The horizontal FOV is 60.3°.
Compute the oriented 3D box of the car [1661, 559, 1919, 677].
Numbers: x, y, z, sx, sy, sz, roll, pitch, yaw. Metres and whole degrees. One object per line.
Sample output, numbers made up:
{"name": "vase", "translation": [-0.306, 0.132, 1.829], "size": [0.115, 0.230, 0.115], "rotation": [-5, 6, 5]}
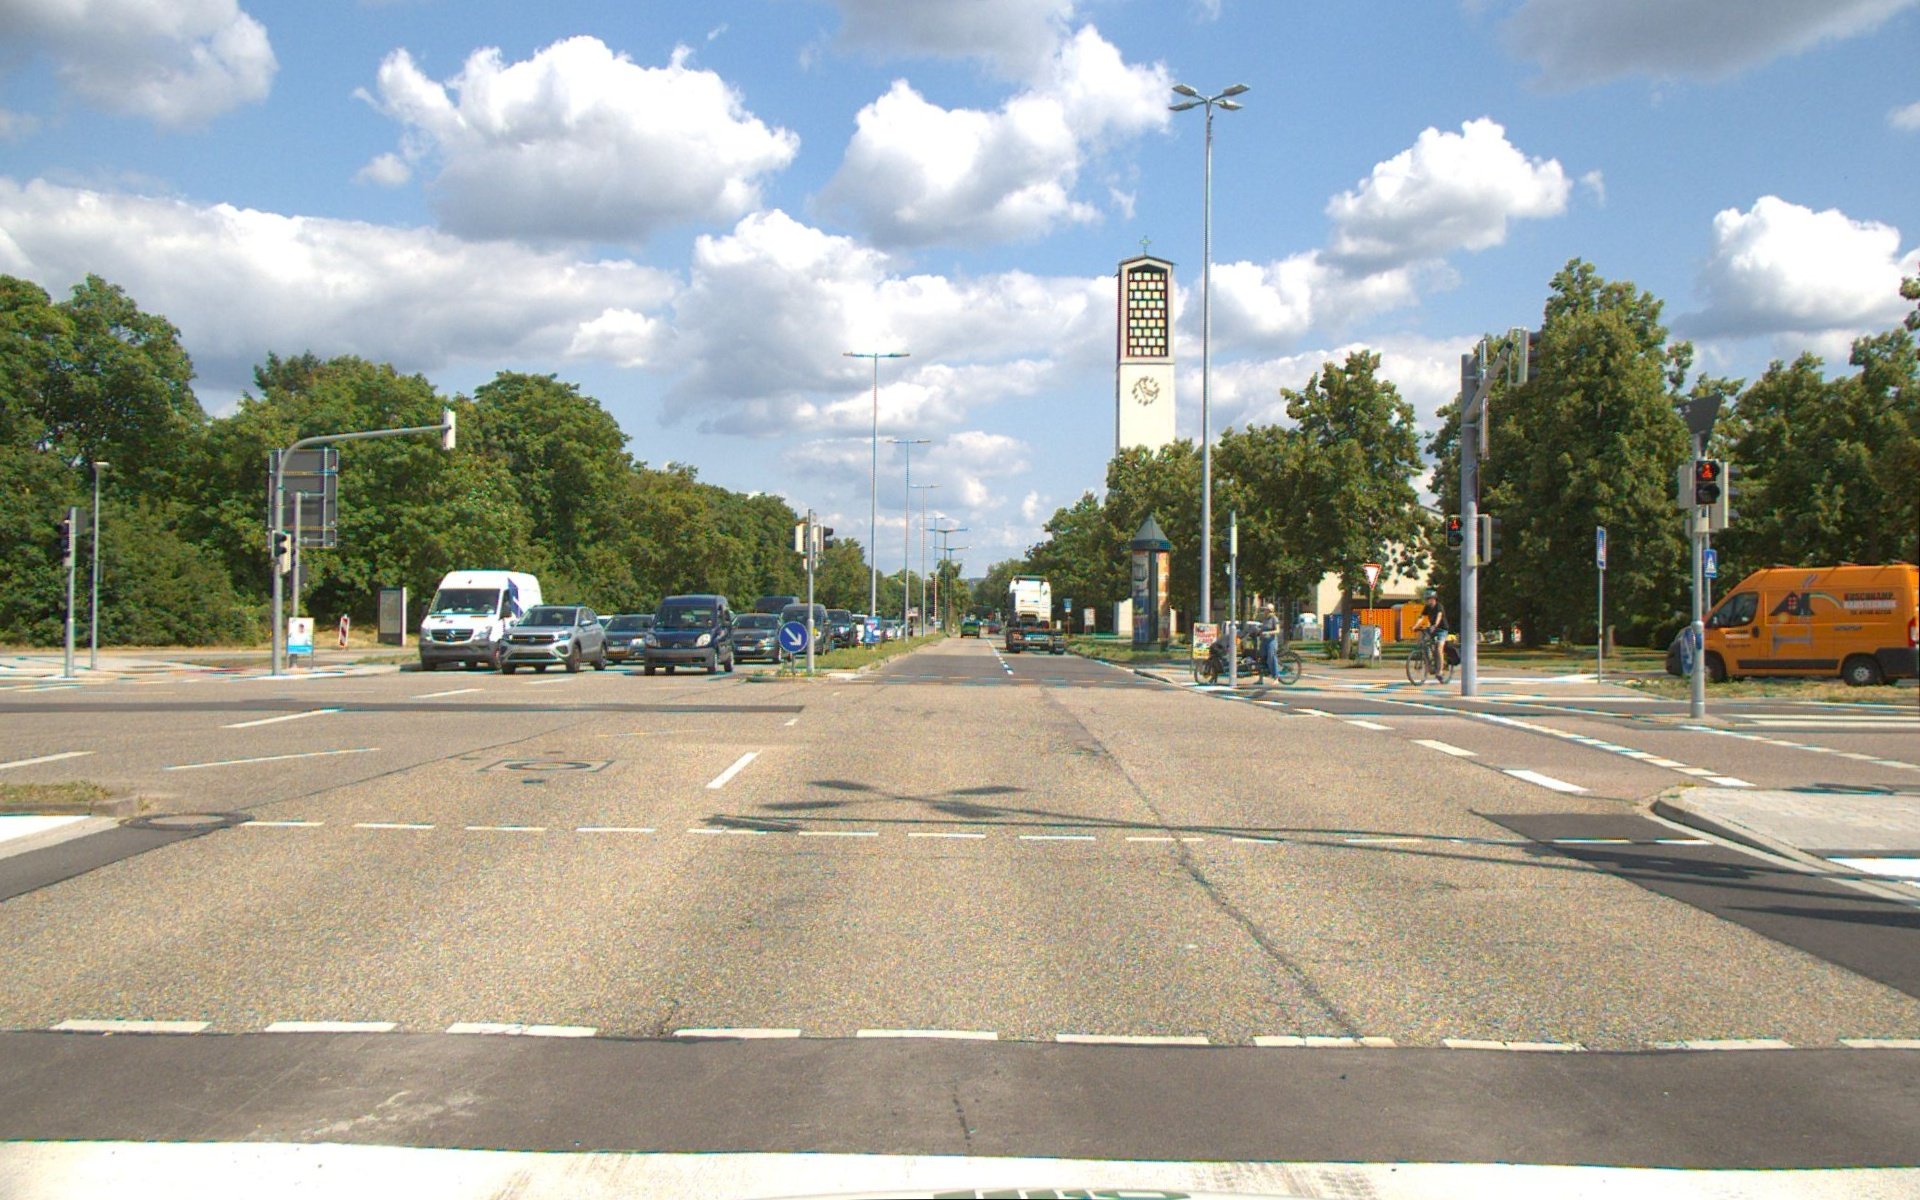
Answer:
{"name": "car", "translation": [17.397, 0.349, 34.381], "size": [4.768, 2.265, 2.201], "rotation": [2, -1, 39]}

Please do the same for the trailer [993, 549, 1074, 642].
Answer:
{"name": "trailer", "translation": [3.590, -0.076, 78.990], "size": [3.544, 4.082, 11.322], "rotation": [1, -1, 3]}

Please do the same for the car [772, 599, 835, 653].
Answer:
{"name": "car", "translation": [-5.278, 0.846, 56.104], "size": [1.699, 1.689, 4.231], "rotation": [2, 0, -1]}

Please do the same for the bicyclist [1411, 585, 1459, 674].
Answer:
{"name": "bicyclist", "translation": [9.973, 0.610, 34.701], "size": [0.783, 1.836, 0.675], "rotation": [2, -2, -43]}

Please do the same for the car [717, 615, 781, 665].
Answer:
{"name": "car", "translation": [-6.102, 1.142, 48.115], "size": [1.537, 1.339, 3.430], "rotation": [2, -1, -3]}

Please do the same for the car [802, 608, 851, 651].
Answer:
{"name": "car", "translation": [-5.662, 1.256, 70.546], "size": [1.699, 1.689, 4.230], "rotation": [2, -1, -1]}

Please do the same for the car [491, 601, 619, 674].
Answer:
{"name": "car", "translation": [-9.542, 0.876, 39.330], "size": [1.698, 1.570, 4.310], "rotation": [2, -1, 3]}

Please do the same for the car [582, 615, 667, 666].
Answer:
{"name": "car", "translation": [-9.492, 1.129, 47.069], "size": [1.728, 1.375, 3.518], "rotation": [1, -1, -1]}

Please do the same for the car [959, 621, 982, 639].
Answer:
{"name": "car", "translation": [0.964, 2.741, 152.090], "size": [1.953, 1.579, 3.999], "rotation": [2, -1, -1]}

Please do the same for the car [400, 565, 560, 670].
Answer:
{"name": "car", "translation": [-12.696, 0.485, 44.203], "size": [2.128, 2.514, 5.969], "rotation": [2, -1, 3]}

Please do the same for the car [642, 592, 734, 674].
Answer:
{"name": "car", "translation": [-6.118, 0.739, 37.586], "size": [1.701, 1.689, 4.226], "rotation": [2, -1, -5]}

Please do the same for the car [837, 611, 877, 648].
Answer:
{"name": "car", "translation": [-5.096, 1.456, 82.260], "size": [1.699, 1.689, 4.230], "rotation": [2, -1, 0]}

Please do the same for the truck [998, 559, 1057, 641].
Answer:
{"name": "truck", "translation": [3.611, 0.116, 86.886], "size": [2.897, 4.040, 8.640], "rotation": [1, -1, 3]}

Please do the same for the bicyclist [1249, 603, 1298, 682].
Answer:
{"name": "bicyclist", "translation": [6.611, 0.883, 34.919], "size": [0.689, 1.644, 0.791], "rotation": [1, 0, -24]}

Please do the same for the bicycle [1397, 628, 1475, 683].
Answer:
{"name": "bicycle", "translation": [9.997, 1.159, 34.728], "size": [1.988, 1.113, 0.675], "rotation": [1, -1, -44]}

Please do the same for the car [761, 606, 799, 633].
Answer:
{"name": "car", "translation": [-8.850, 0.972, 81.574], "size": [1.516, 1.238, 3.489], "rotation": [2, -1, -1]}

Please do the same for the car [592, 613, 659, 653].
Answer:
{"name": "car", "translation": [-11.997, 1.165, 59.436], "size": [1.728, 1.375, 3.518], "rotation": [1, -1, -1]}

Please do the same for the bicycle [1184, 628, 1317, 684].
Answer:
{"name": "bicycle", "translation": [6.108, 1.171, 34.690], "size": [2.796, 1.131, 0.791], "rotation": [1, 0, -25]}

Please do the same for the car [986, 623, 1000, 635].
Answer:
{"name": "car", "translation": [4.856, 4.309, 245.365], "size": [1.953, 1.579, 3.999], "rotation": [2, -1, -1]}
